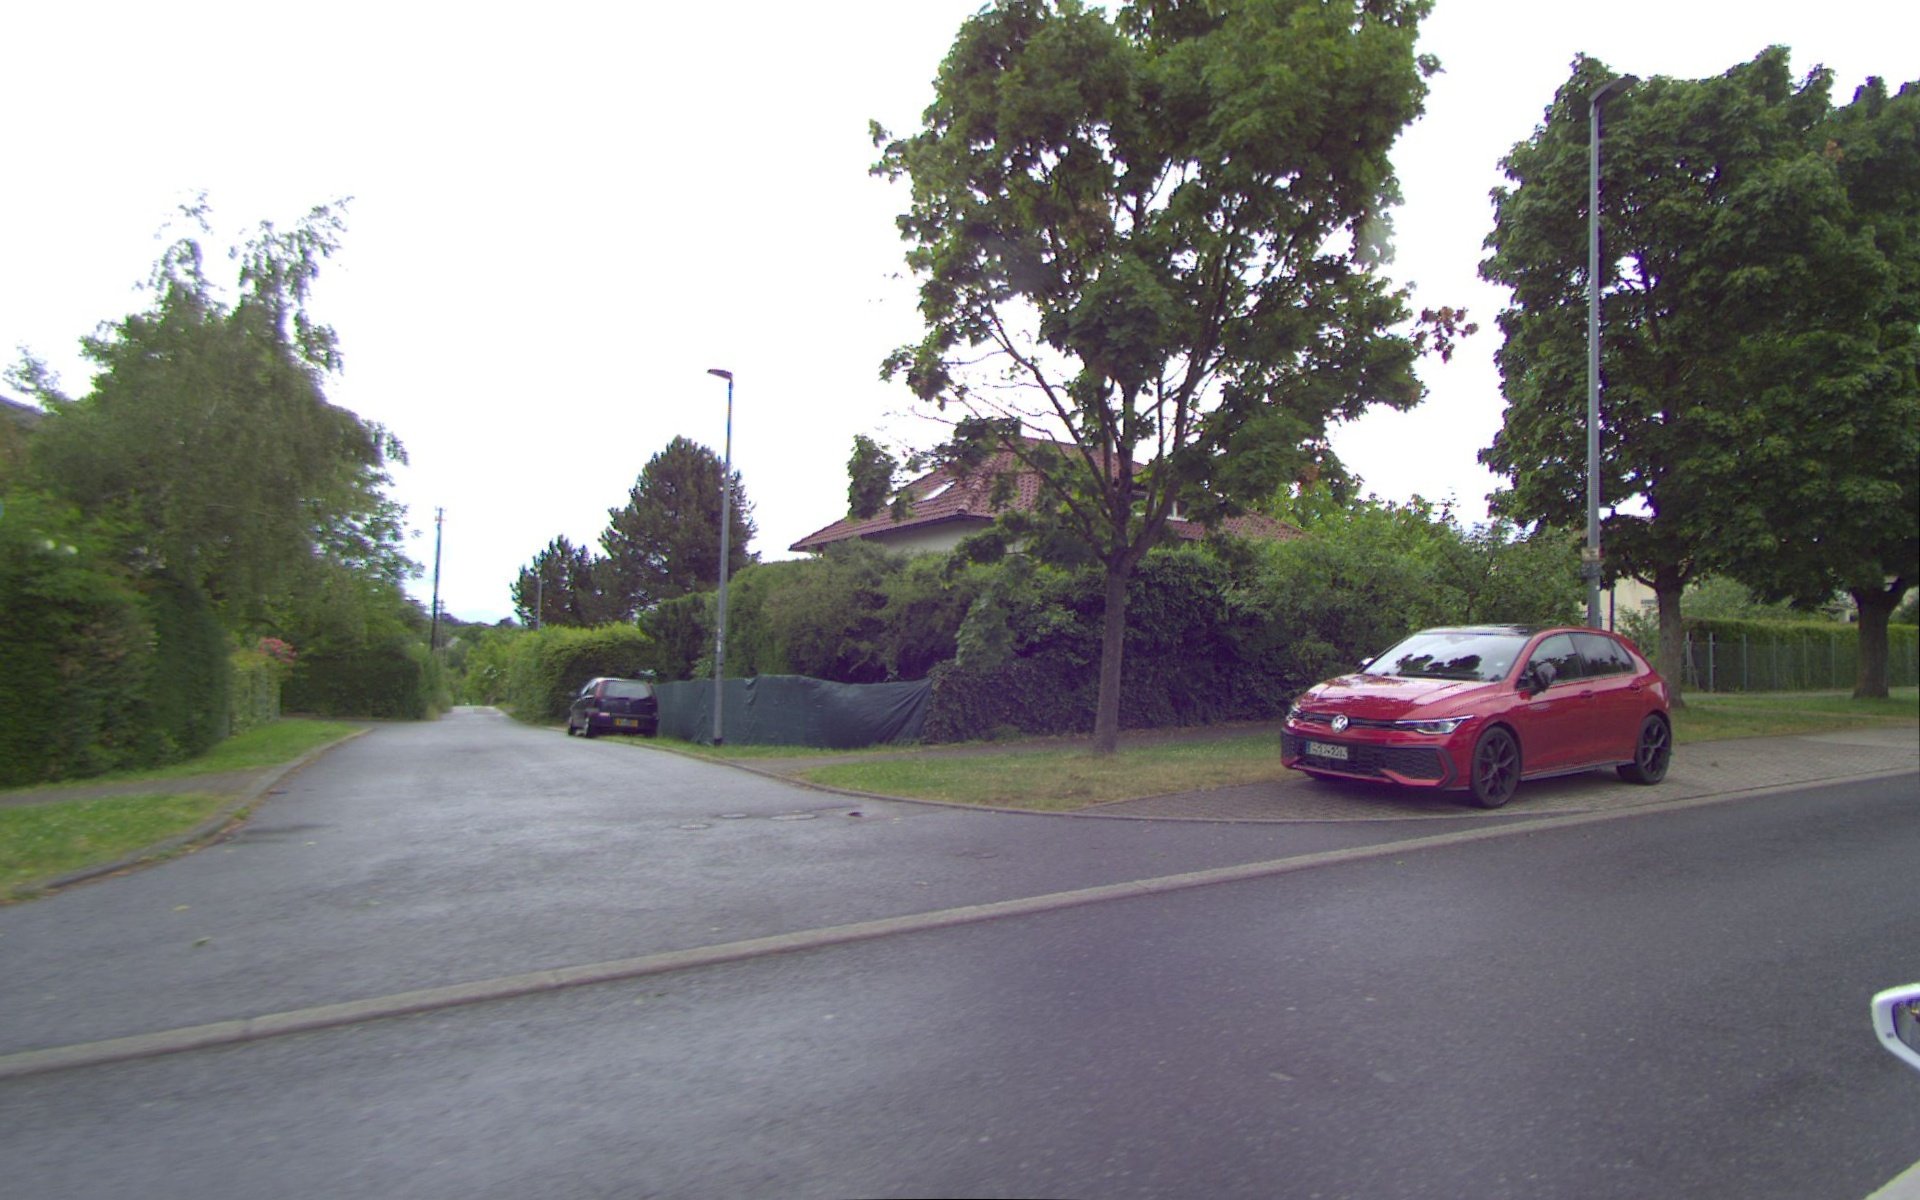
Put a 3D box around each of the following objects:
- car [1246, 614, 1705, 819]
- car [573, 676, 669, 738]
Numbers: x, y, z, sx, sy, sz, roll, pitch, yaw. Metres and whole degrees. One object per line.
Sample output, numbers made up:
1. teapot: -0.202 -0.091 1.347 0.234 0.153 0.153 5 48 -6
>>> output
1. car: 4.779 0.885 9.166 4.201 1.485 1.834 1 -1 -31
2. car: -8.252 2.582 24.303 1.791 1.382 3.530 3 -6 -25
